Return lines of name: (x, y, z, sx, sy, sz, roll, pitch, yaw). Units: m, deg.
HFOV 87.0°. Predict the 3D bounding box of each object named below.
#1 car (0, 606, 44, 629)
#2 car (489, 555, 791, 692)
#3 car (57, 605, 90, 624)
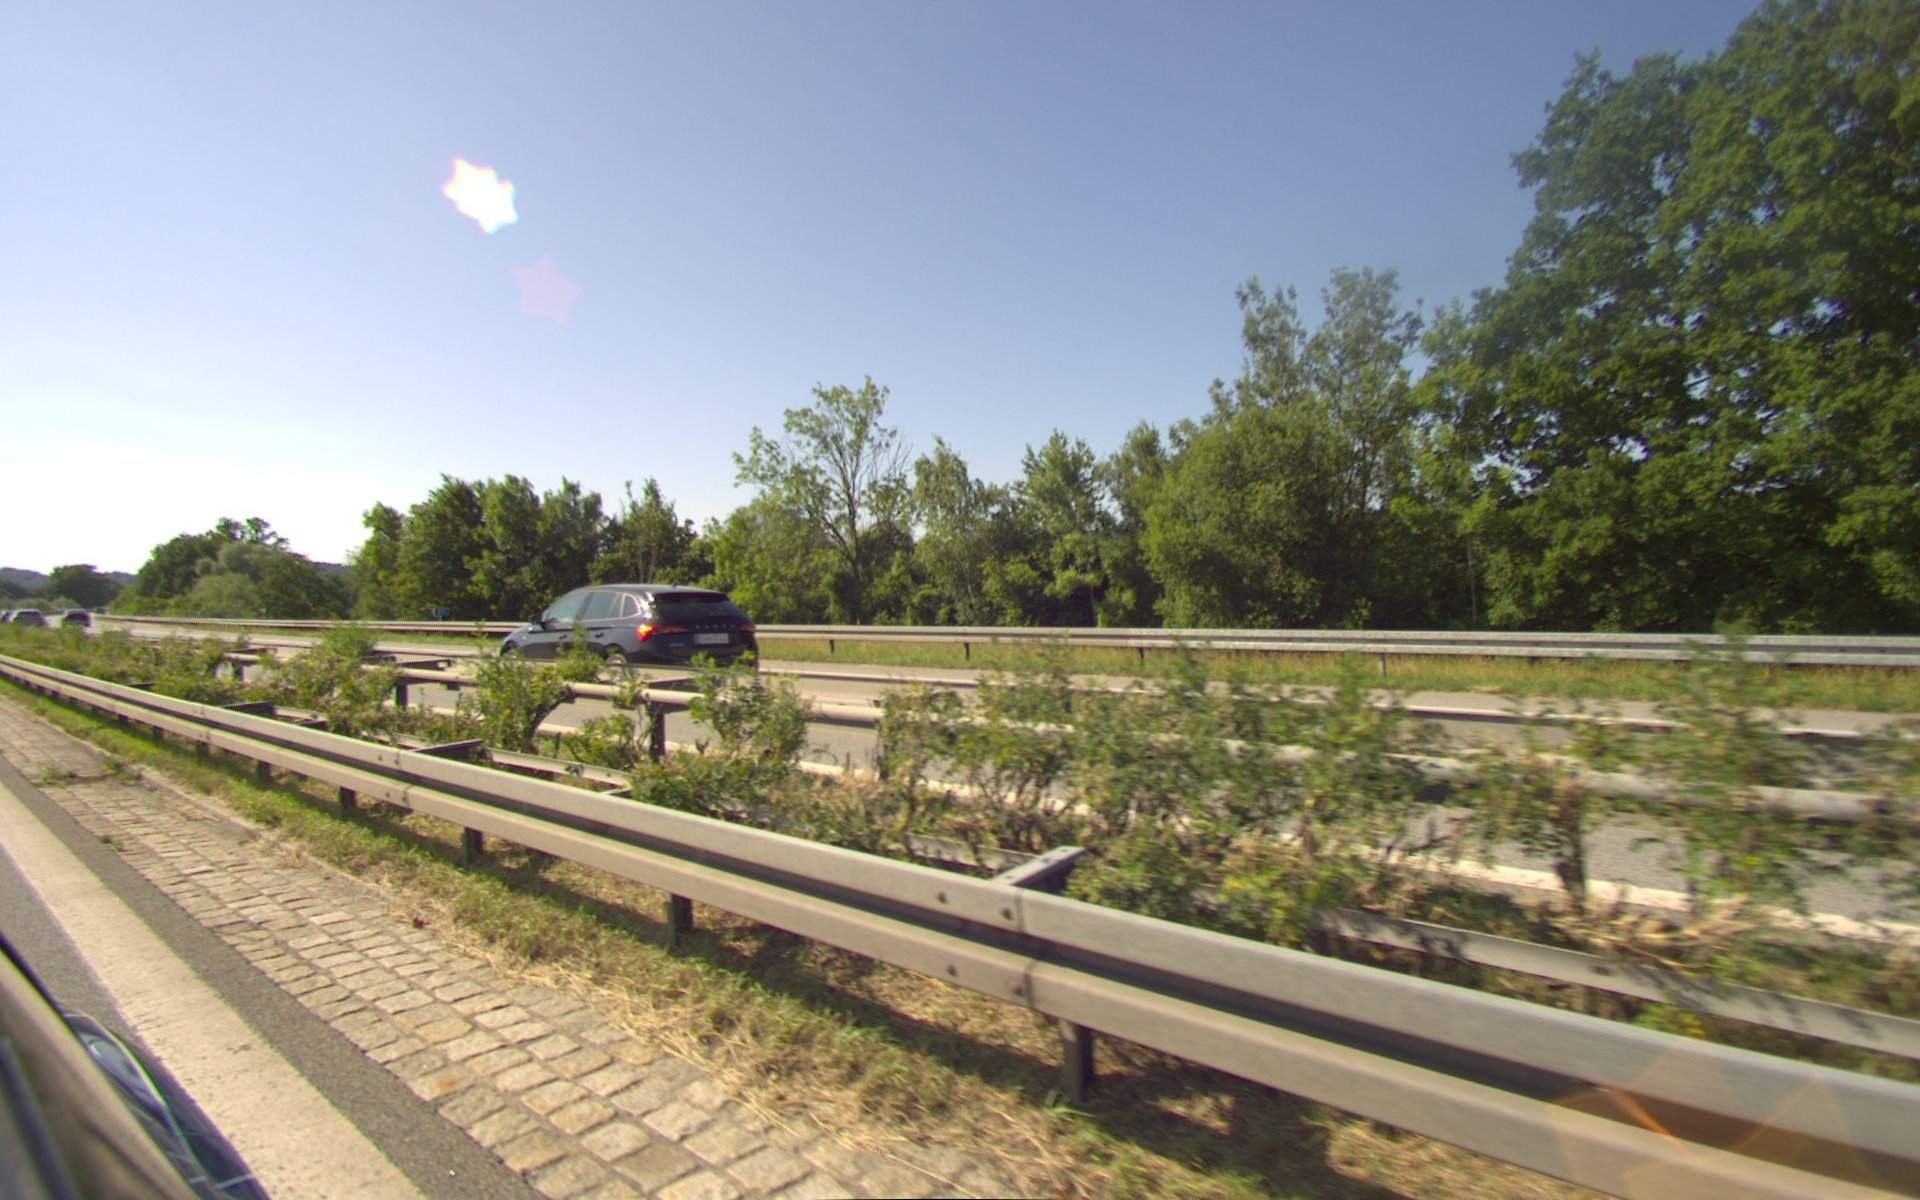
car: (-63.872, 1.194, 68.872, 4.794, 1.516, 1.910, -1, -1, 44)
car: (-4.146, 0.288, 12.758, 4.243, 1.461, 1.642, -1, -1, 40)
car: (-79.041, 1.293, 90.186, 4.494, 1.646, 1.833, -1, 0, 44)
